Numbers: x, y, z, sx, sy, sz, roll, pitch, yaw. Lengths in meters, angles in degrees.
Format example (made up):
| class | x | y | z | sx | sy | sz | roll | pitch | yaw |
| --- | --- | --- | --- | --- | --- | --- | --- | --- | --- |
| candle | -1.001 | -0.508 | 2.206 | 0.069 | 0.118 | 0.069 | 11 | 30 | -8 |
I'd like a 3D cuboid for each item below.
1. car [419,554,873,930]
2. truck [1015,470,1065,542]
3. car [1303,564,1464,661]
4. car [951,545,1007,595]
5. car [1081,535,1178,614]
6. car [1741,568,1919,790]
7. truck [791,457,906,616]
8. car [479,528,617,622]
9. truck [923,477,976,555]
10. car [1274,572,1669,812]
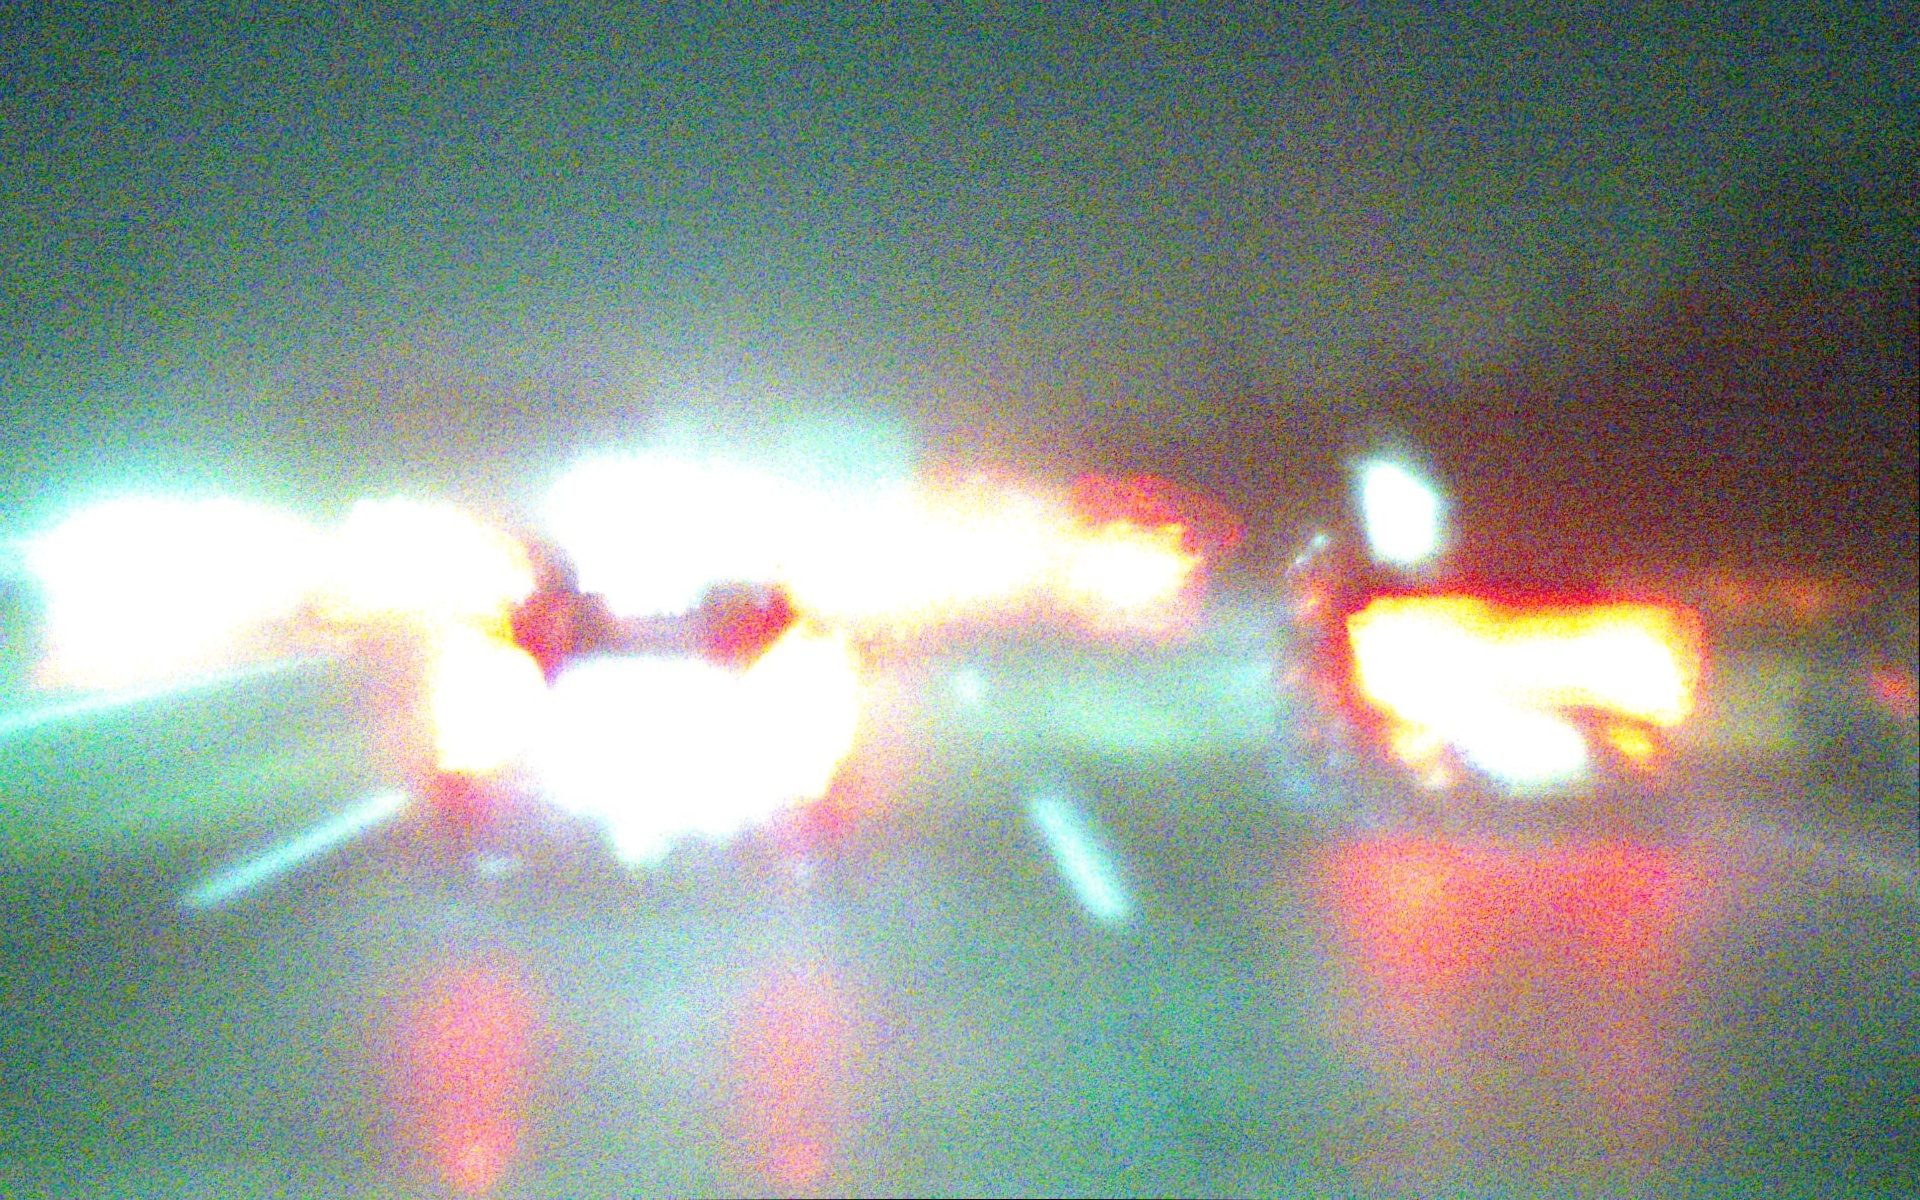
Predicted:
| class | x | y | z | sx | sy | sz | roll | pitch | yaw |
| --- | --- | --- | --- | --- | --- | --- | --- | --- | --- |
| car | -1.325 | 0.551 | 15.954 | 1.801 | 1.482 | 4.000 | 1 | 1 | -1 |
| truck | 3.571 | -4.199 | 154.905 | 1.993 | 3.032 | 6.465 | -3 | 1 | 0 |
| car | 5.791 | 0.149 | 47.273 | 1.580 | 1.242 | 3.069 | 1 | 1 | -5 |
| car | 0.642 | -1.019 | 115.817 | 1.863 | 1.612 | 4.000 | 1 | 1 | 0 |
| car | 3.565 | -0.561 | 72.812 | 1.863 | 1.612 | 4.000 | 1 | 1 | 0 |
| car | 6.125 | 0.448 | 21.420 | 1.580 | 1.242 | 3.069 | 1 | 1 | -5 |
| truck | -2.242 | -1.294 | 70.974 | 1.993 | 3.032 | 6.465 | -3 | 1 | 0 |
| car | -5.922 | -0.372 | 49.762 | 1.662 | 1.232 | 3.762 | -3 | 1 | -3 |
| truck | -0.407 | -3.414 | 140.684 | 1.993 | 3.032 | 6.465 | -3 | 1 | 0 |
| car | 2.888 | 0.485 | 19.984 | 1.580 | 1.242 | 3.069 | 1 | 1 | -5 |
